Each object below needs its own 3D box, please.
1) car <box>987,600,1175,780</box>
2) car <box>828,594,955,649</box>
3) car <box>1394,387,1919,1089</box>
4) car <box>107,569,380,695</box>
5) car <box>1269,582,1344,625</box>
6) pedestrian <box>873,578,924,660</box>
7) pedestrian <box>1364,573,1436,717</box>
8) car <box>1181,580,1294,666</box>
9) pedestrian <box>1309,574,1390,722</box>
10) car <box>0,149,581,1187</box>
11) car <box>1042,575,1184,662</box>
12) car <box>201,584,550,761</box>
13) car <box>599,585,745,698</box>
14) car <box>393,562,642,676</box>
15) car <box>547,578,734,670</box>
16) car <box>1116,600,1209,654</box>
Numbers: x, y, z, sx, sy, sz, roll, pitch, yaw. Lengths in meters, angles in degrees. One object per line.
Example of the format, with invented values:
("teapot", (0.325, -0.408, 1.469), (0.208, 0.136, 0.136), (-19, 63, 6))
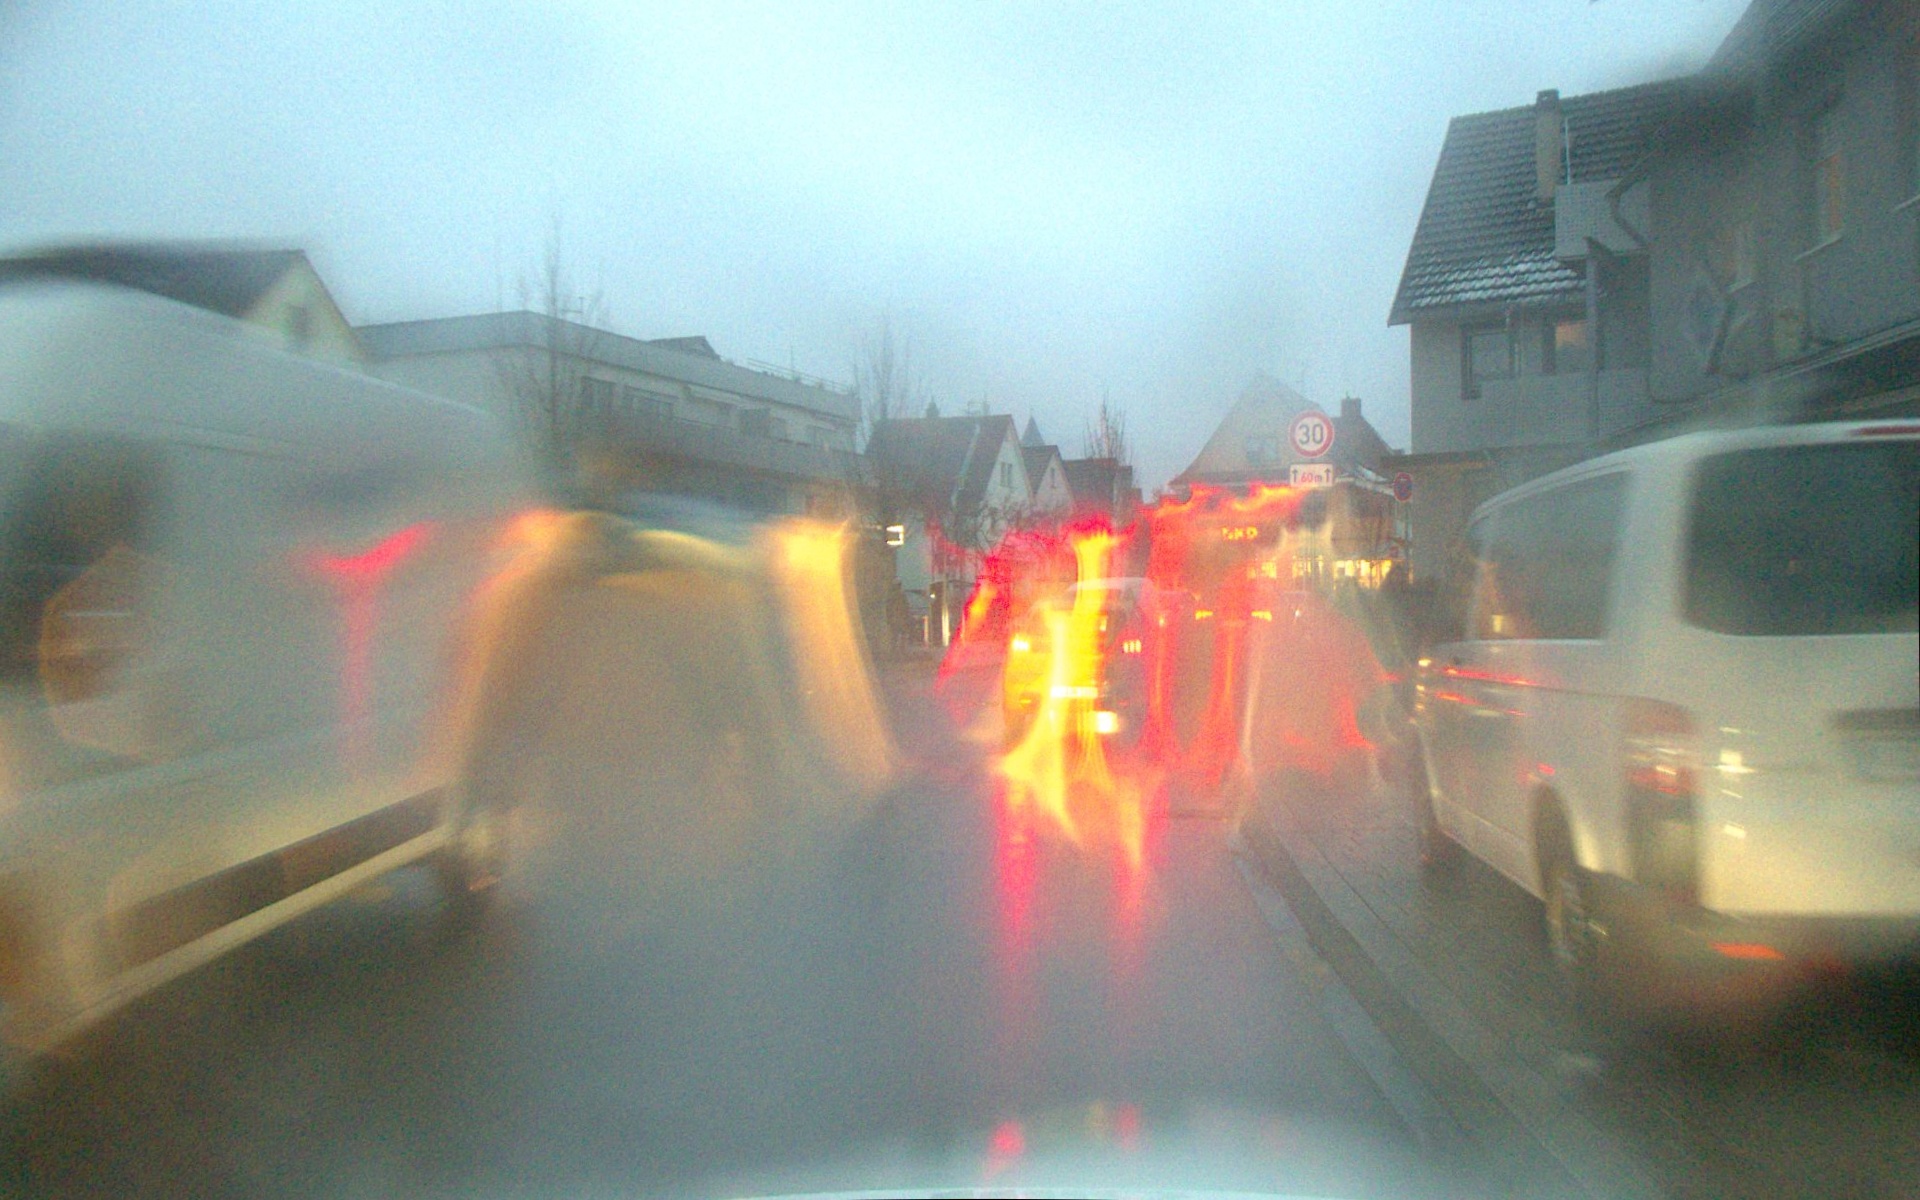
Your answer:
("car", (1.565, 0.963, 19.764), (1.951, 1.827, 4.652), (-1, 0, 7))
("car", (-2.042, 0.641, 48.363), (1.722, 1.503, 4.033), (-2, -1, -37))
("car", (3.197, 0.362, 7.083), (1.931, 1.994, 4.856), (-1, 0, 7))
("car", (-9.778, 0.385, 22.471), (3.929, 1.557, 1.988), (0, 0, 42))
("car", (13.095, 0.125, 62.319), (1.638, 1.542, 3.993), (1, 1, 29))
("pedestrian", (-1.430, 0.443, 38.752), (0.739, 1.899, 1.059), (-1, 0, 29))
("pedestrian", (5.317, 0.534, 20.011), (0.568, 1.698, 0.791), (-1, 0, -4))
("car", (5.883, 0.460, 34.768), (1.760, 1.691, 4.002), (0, 0, 18))
("pedestrian", (4.673, 0.563, 19.884), (0.699, 1.729, 0.803), (-1, 0, -5))
("car", (-3.325, 0.158, 6.072), (2.149, 2.534, 6.145), (-1, 0, 3))
("car", (3.579, 0.379, 37.819), (1.906, 1.781, 4.851), (-3, 0, 21))
("car", (-5.713, 0.624, 16.787), (1.865, 1.560, 4.257), (0, 0, 2))
("car", (-4.235, 0.572, 24.810), (1.797, 1.562, 3.672), (0, 0, -4))
("car", (-8.311, 0.374, 30.723), (5.307, 1.918, 2.059), (-2, 0, 45))
("car", (-7.016, 0.522, 36.350), (3.635, 1.937, 1.760), (-1, 0, 22))
("car", (6.219, 0.797, 50.449), (1.659, 1.543, 3.769), (1, 1, 26))
